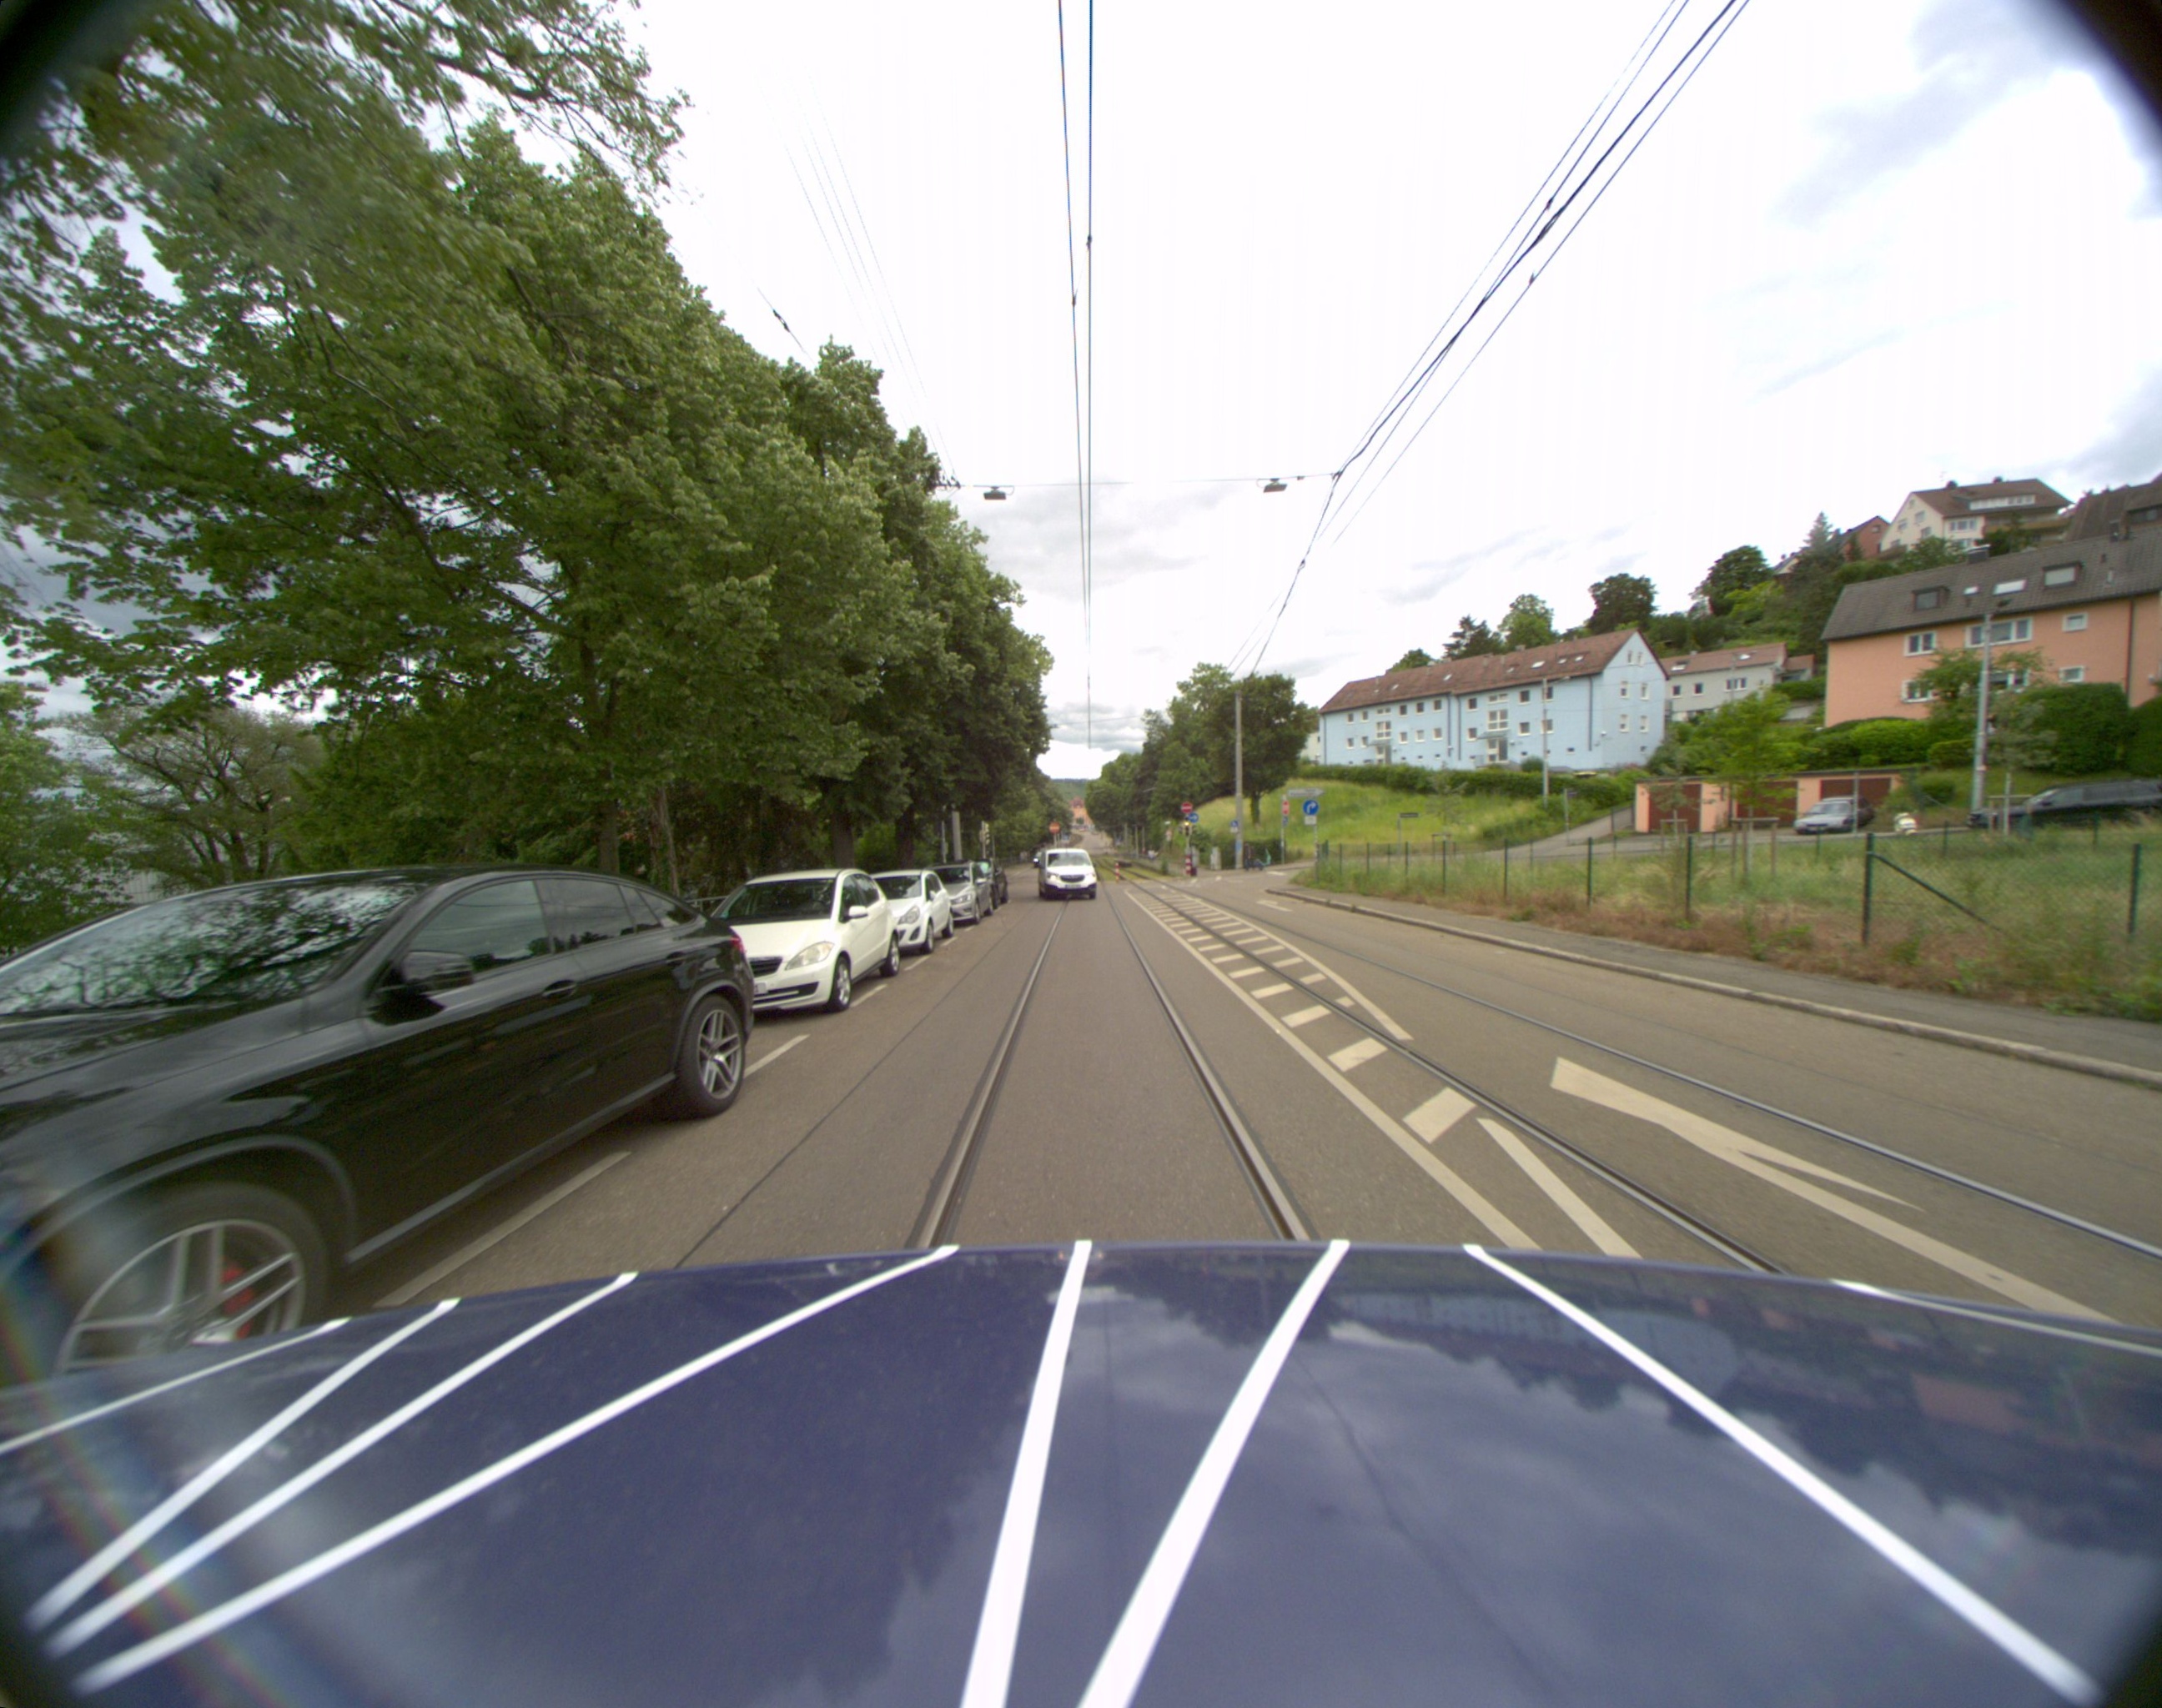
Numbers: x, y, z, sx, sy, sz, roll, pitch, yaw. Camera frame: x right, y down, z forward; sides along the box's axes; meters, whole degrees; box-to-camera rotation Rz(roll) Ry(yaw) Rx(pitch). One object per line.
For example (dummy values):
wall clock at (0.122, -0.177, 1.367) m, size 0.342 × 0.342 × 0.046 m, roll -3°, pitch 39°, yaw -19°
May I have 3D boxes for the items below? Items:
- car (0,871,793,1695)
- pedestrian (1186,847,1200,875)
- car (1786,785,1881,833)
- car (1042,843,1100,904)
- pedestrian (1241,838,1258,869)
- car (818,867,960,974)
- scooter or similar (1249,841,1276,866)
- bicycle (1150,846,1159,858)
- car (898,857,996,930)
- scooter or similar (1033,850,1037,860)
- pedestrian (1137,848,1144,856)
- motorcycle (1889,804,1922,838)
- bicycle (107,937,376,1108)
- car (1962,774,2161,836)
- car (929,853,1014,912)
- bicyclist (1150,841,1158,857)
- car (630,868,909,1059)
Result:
car at (-3.336, 1.057, 3.529) m, size 1.882 × 1.668 × 5.062 m, roll -4°, pitch 1°, yaw 1°
pedestrian at (6.497, 0.375, 43.983) m, size 0.752 × 1.565 × 0.757 m, roll -2°, pitch 2°, yaw 7°
car at (34.123, -2.055, 34.414) m, size 4.885 × 1.604 × 1.995 m, roll -9°, pitch 5°, yaw -32°
car at (-0.447, 0.613, 27.640) m, size 1.810 × 1.910 × 4.475 m, roll -3°, pitch 2°, yaw -3°
pedestrian at (9.761, -0.058, 44.065) m, size 0.901 × 1.740 × 0.743 m, roll -2°, pitch 2°, yaw 14°
car at (-3.457, 1.118, 14.450) m, size 1.633 × 1.508 × 4.063 m, roll -5°, pitch 1°, yaw -1°
scooter or similar at (10.822, -0.032, 45.355) m, size 1.412 × 1.282 × 0.418 m, roll -6°, pitch 2°, yaw 1°
bicycle at (7.675, -0.204, 79.411) m, size 0.752 × 1.233 × 2.867 m, roll -3°, pitch 0°, yaw 4°
car at (-3.378, 0.942, 20.002) m, size 1.738 × 1.566 × 4.364 m, roll -3°, pitch 1°, yaw 0°
scooter or similar at (-6.201, 0.106, 102.110) m, size 0.431 × 1.377 × 1.455 m, roll -3°, pitch 2°, yaw 0°
pedestrian at (9.567, -0.354, 122.273) m, size 0.823 × 1.315 × 0.774 m, roll -3°, pitch 2°, yaw -6°
motorcycle at (32.031, -1.305, 29.540) m, size 0.520 × 1.151 × 1.707 m, roll -1°, pitch 6°, yaw 36°
bicycle at (-6.801, 1.298, 6.306) m, size 0.428 × 0.970 × 1.793 m, roll -3°, pitch 2°, yaw -9°
car at (35.119, -1.705, 27.115) m, size 4.440 × 1.680 × 1.980 m, roll -5°, pitch 0°, yaw 38°
car at (-3.494, 0.863, 25.085) m, size 1.909 × 1.606 × 4.600 m, roll -3°, pitch 1°, yaw 2°
bicyclist at (7.681, -0.506, 80.002) m, size 0.706 × 1.619 × 1.032 m, roll -3°, pitch 0°, yaw 4°
car at (-3.537, 1.118, 9.558) m, size 1.730 × 1.622 × 4.087 m, roll -6°, pitch 1°, yaw -1°
